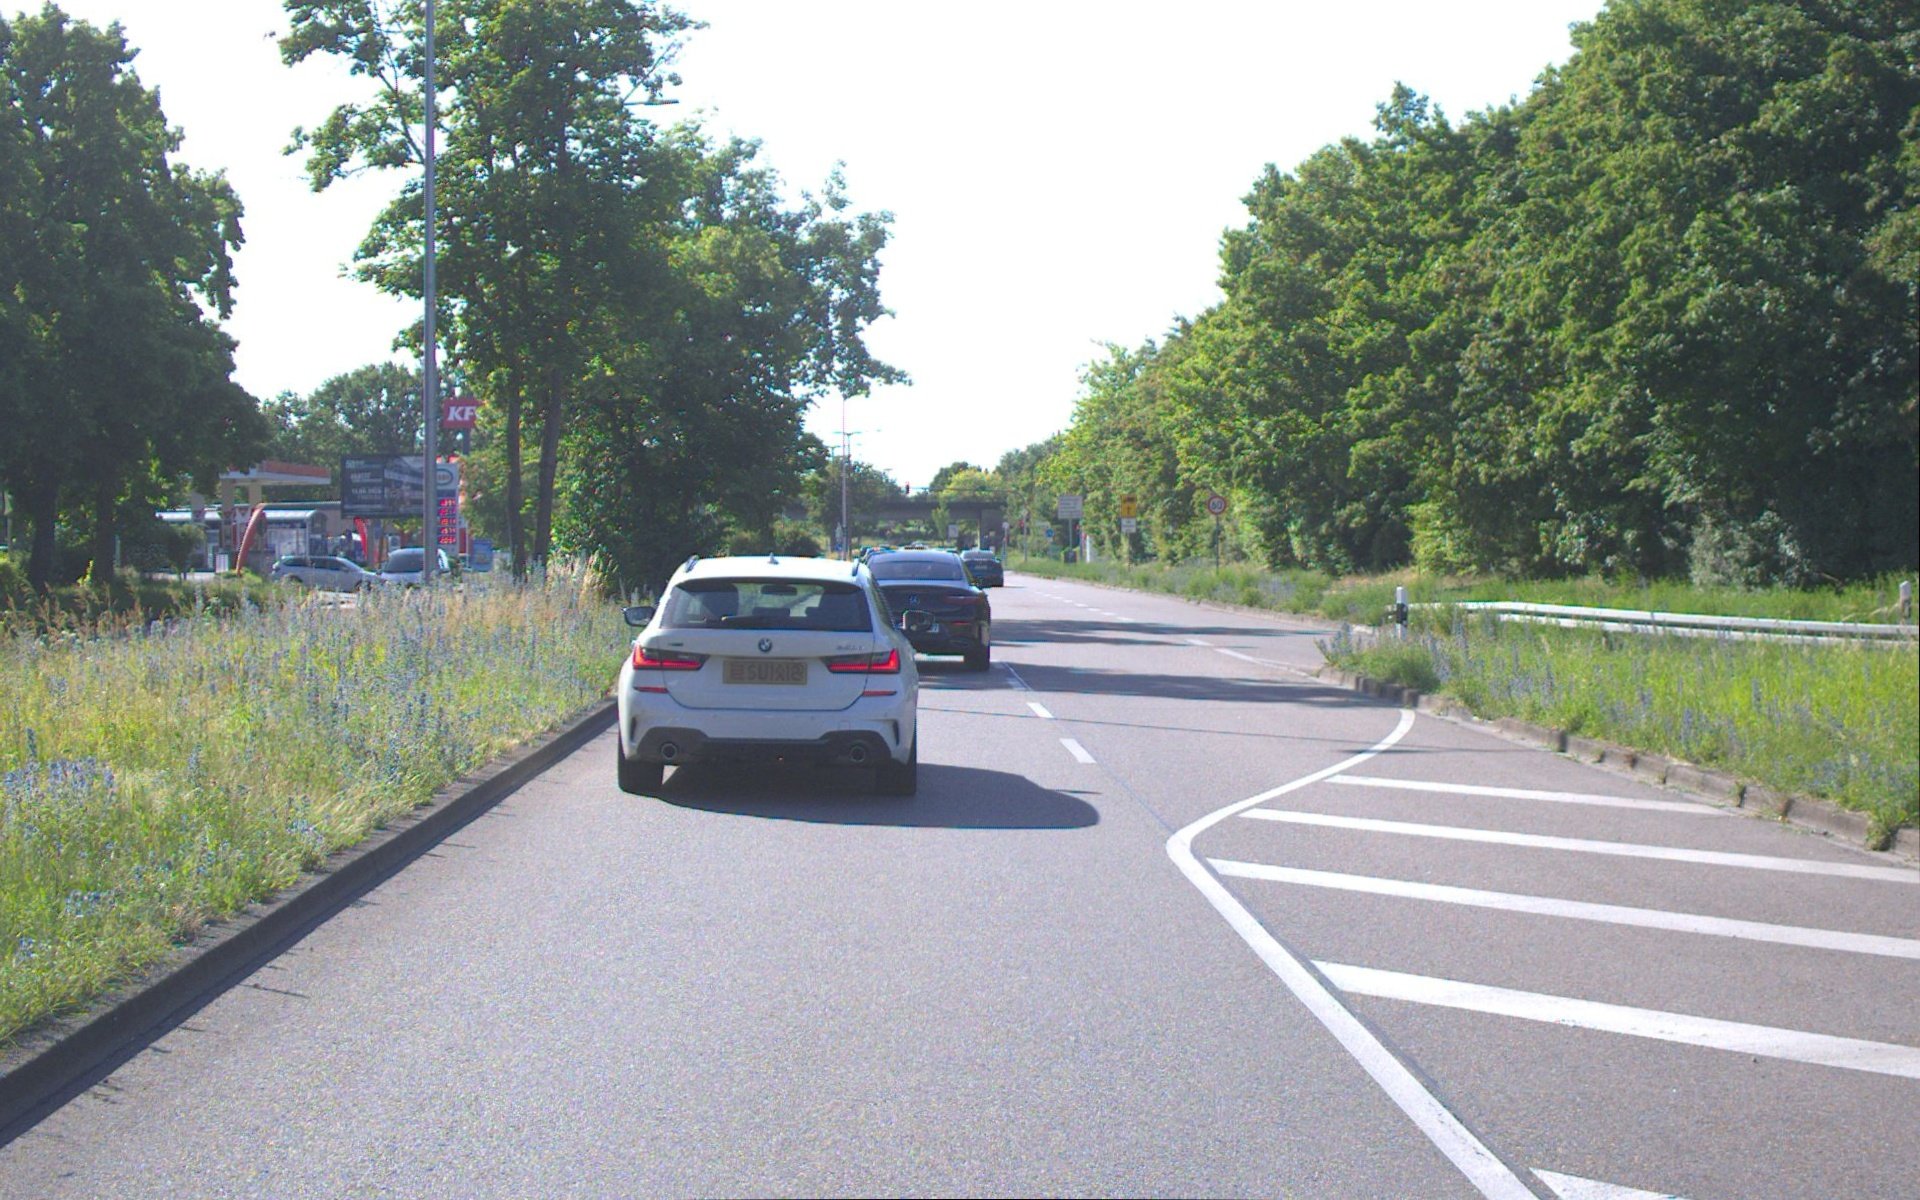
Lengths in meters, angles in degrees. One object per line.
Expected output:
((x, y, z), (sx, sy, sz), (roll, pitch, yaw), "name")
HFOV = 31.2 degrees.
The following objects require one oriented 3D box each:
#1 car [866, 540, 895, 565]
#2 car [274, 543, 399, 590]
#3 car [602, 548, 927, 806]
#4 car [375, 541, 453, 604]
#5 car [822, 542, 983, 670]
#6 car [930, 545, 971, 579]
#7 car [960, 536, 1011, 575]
((-5.093, -3.048, 220.473), (1.861, 1.560, 4.548), (0, 1, -2), "car")
((-23.003, -1.236, 126.835), (4.111, 1.656, 1.892), (-1, 1, 8), "car")
((-1.170, 0.410, 22.162), (1.861, 1.450, 4.548), (1, 1, -1), "car")
((-15.211, -0.788, 95.931), (1.706, 1.740, 4.166), (0, 1, -2), "car")
((-0.733, 0.030, 42.485), (1.861, 1.450, 4.548), (-1, 1, -2), "car")
((-0.478, -1.815, 164.107), (1.771, 1.550, 3.834), (-1, 1, -3), "car")
((0.982, -1.746, 134.163), (1.861, 1.494, 4.337), (0, 1, -1), "car")
